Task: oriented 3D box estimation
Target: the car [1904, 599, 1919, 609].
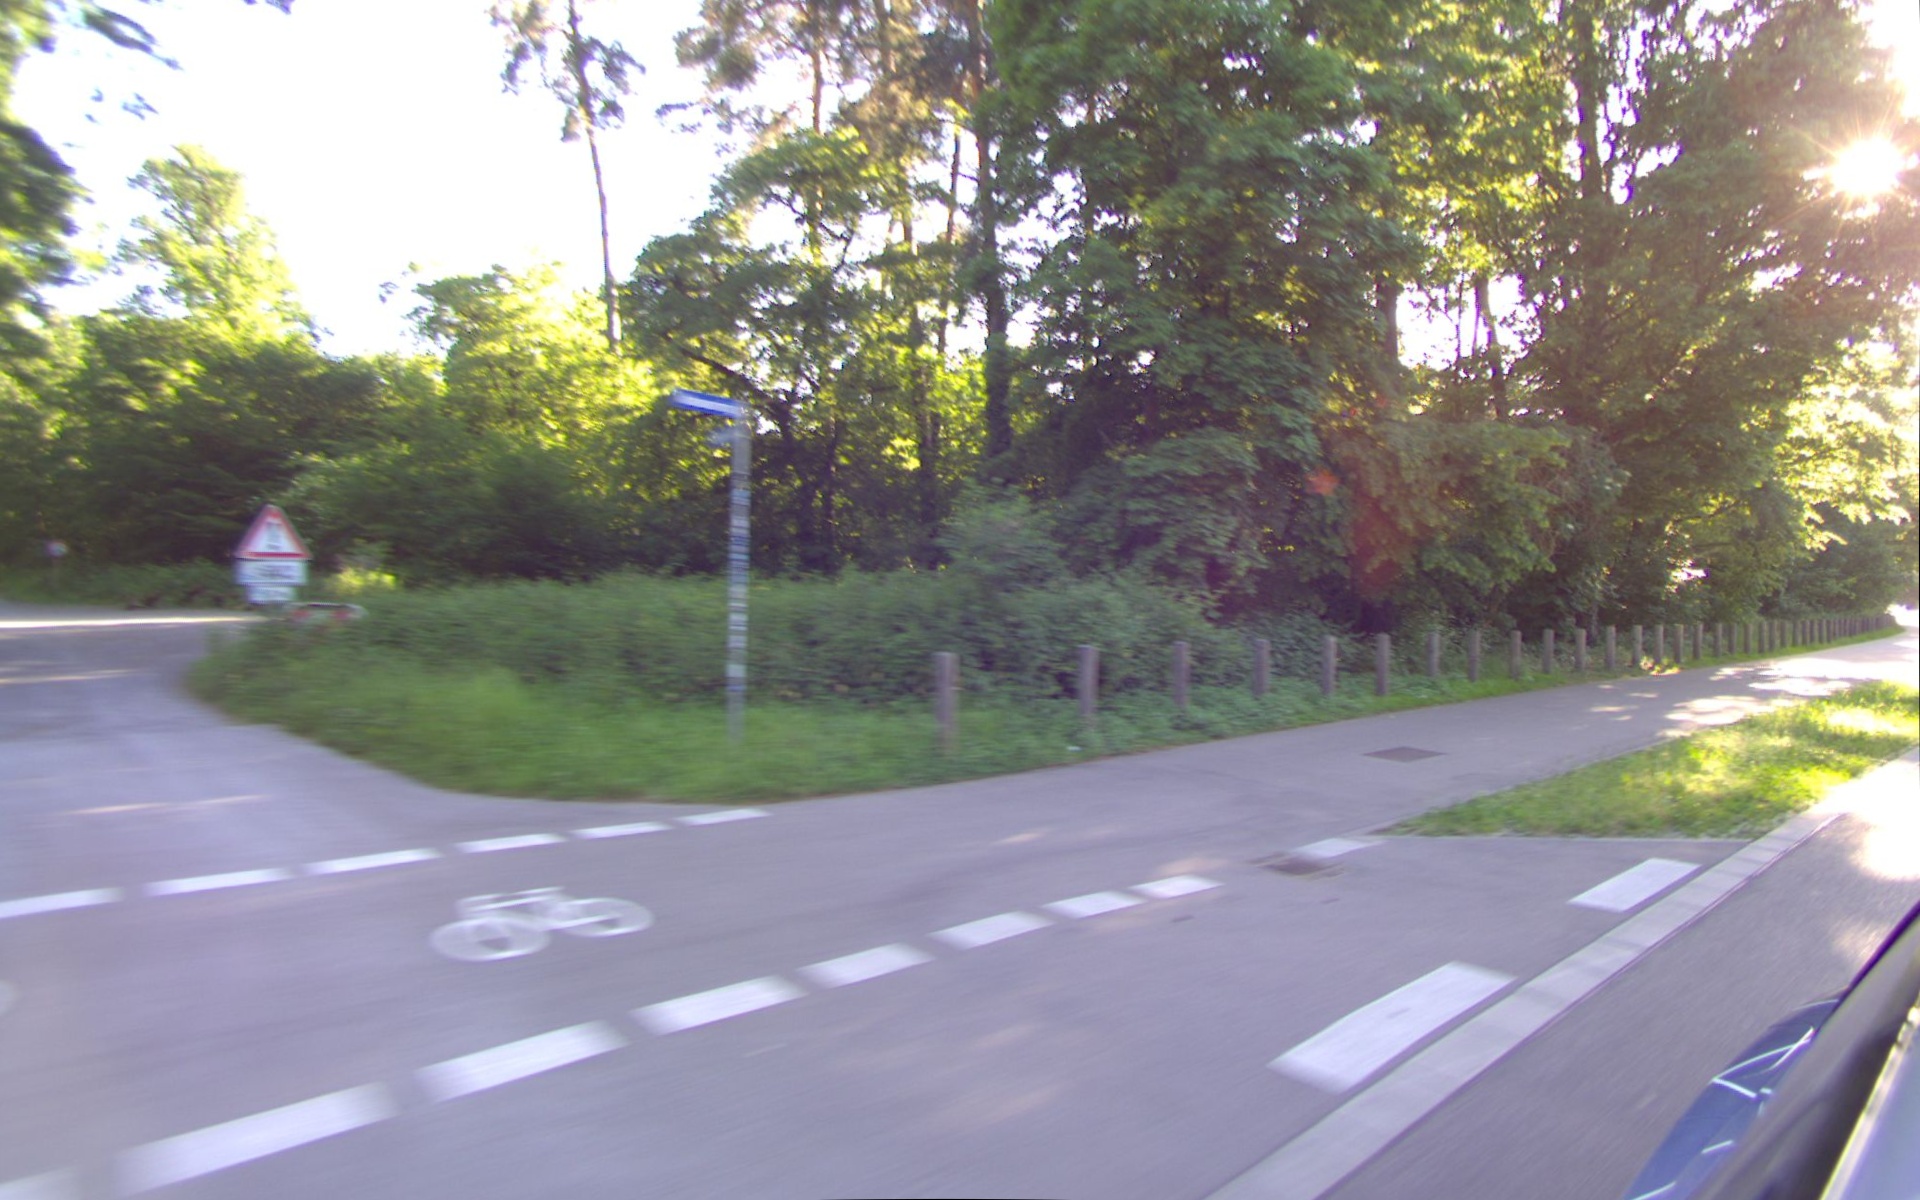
[{"bbox_3d":[175.309,0.709,186.273,1.817,1.705,3.947,1,1,37],"label":"car"}]
